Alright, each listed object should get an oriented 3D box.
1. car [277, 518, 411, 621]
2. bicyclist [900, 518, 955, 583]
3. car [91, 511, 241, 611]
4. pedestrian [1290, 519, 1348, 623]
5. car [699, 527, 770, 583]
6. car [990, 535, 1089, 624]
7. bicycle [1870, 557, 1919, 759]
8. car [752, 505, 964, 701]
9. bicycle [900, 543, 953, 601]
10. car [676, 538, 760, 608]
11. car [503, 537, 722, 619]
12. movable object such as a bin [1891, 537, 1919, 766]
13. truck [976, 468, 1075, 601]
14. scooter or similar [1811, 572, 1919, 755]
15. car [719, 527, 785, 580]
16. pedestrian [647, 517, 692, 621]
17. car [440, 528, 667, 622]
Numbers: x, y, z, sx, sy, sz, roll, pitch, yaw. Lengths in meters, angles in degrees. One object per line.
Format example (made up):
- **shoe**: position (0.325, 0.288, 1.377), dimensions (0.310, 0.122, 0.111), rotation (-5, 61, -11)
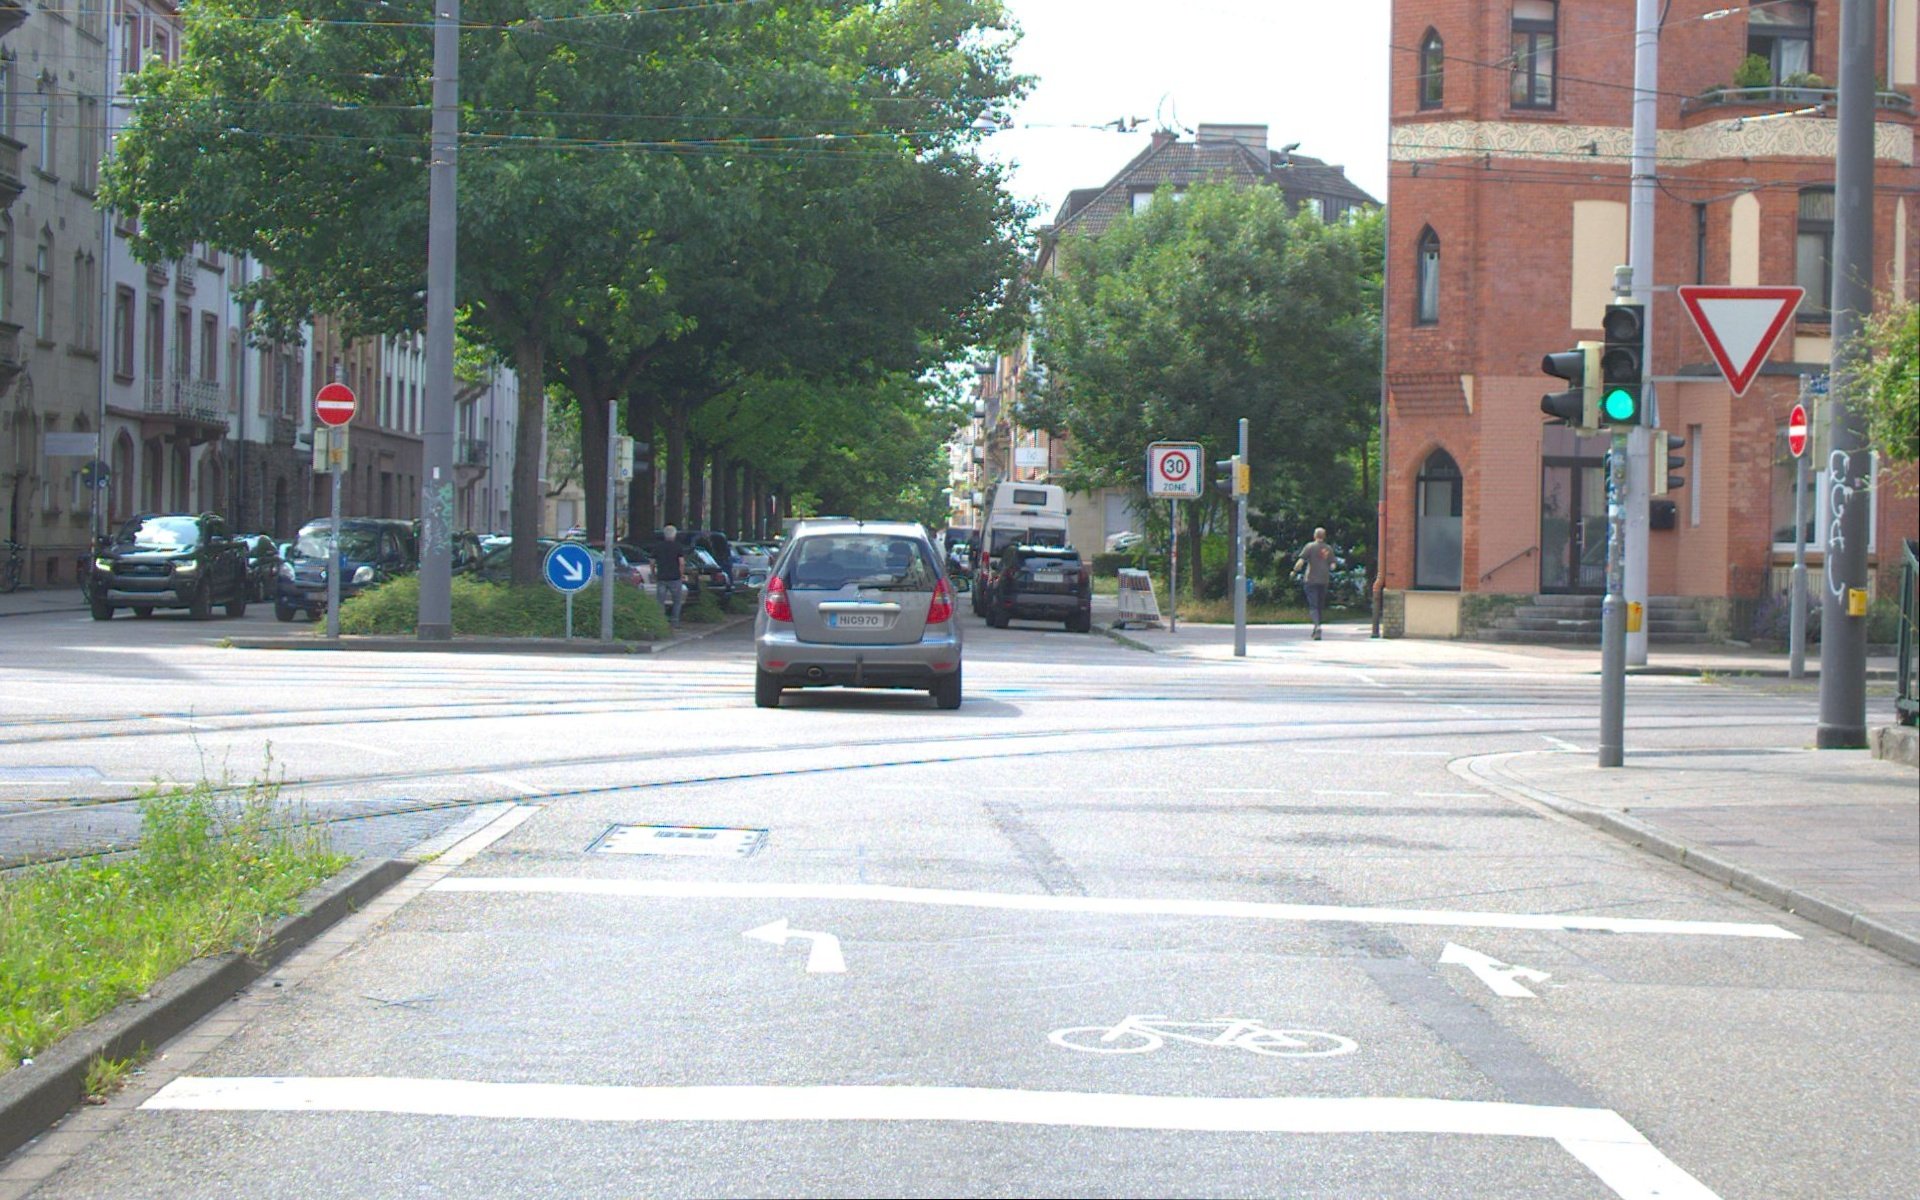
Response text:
- **car**: position (-10.715, -0.556, 60.017), dimensions (1.993, 1.722, 4.001), rotation (0, 1, -6)
- **bicyclist**: position (-0.543, -0.841, 58.572), dimensions (0.836, 1.078, 1.400), rotation (1, 1, 3)
- **car**: position (-13.447, -0.675, 58.415), dimensions (1.993, 1.612, 4.001), rotation (0, 1, -6)
- **pedestrian**: position (5.811, -0.468, 55.610), dimensions (0.869, 1.651, 0.736), rotation (1, 1, 4)
- **car**: position (-6.327, -1.269, 96.723), dimensions (1.752, 1.512, 3.499), rotation (1, 1, 0)
- **car**: position (1.564, -0.415, 66.573), dimensions (1.752, 1.627, 3.499), rotation (1, 1, 3)
- **bicycle**: position (6.981, 0.386, 22.880), dimensions (1.827, 1.324, 0.277), rotation (0, 1, -10)
- **car**: position (-0.837, -0.006, 30.185), dimensions (1.722, 1.600, 3.677), rotation (1, 1, 0)
- **bicycle**: position (-0.563, -0.486, 58.475), dimensions (0.749, 0.955, 2.298), rotation (1, 1, 3)
- **car**: position (-5.820, -0.675, 83.115), dimensions (1.752, 1.627, 3.499), rotation (1, 1, 0)
- **car**: position (-6.218, -0.403, 61.300), dimensions (1.969, 1.334, 3.999), rotation (0, 1, -40)
- **movable object such as a bin**: position (6.522, 0.335, 22.042), dimensions (0.714, 1.467, 0.983), rotation (0, 1, -9)
- **truck**: position (1.535, -1.507, 79.415), dimensions (2.123, 2.960, 4.000), rotation (1, 1, 3)
- **scooter or similar**: position (6.404, 0.426, 23.178), dimensions (1.193, 1.212, 0.463), rotation (0, 1, -7)
- **car**: position (-6.245, -1.414, 103.579), dimensions (1.752, 1.512, 3.499), rotation (1, 1, 0)
- **pedestrian**: position (-4.860, -0.521, 57.513), dimensions (0.652, 1.719, 0.494), rotation (1, 1, 3)
- **car**: position (-6.963, -0.441, 58.681), dimensions (1.969, 1.489, 3.999), rotation (1, 1, -40)
